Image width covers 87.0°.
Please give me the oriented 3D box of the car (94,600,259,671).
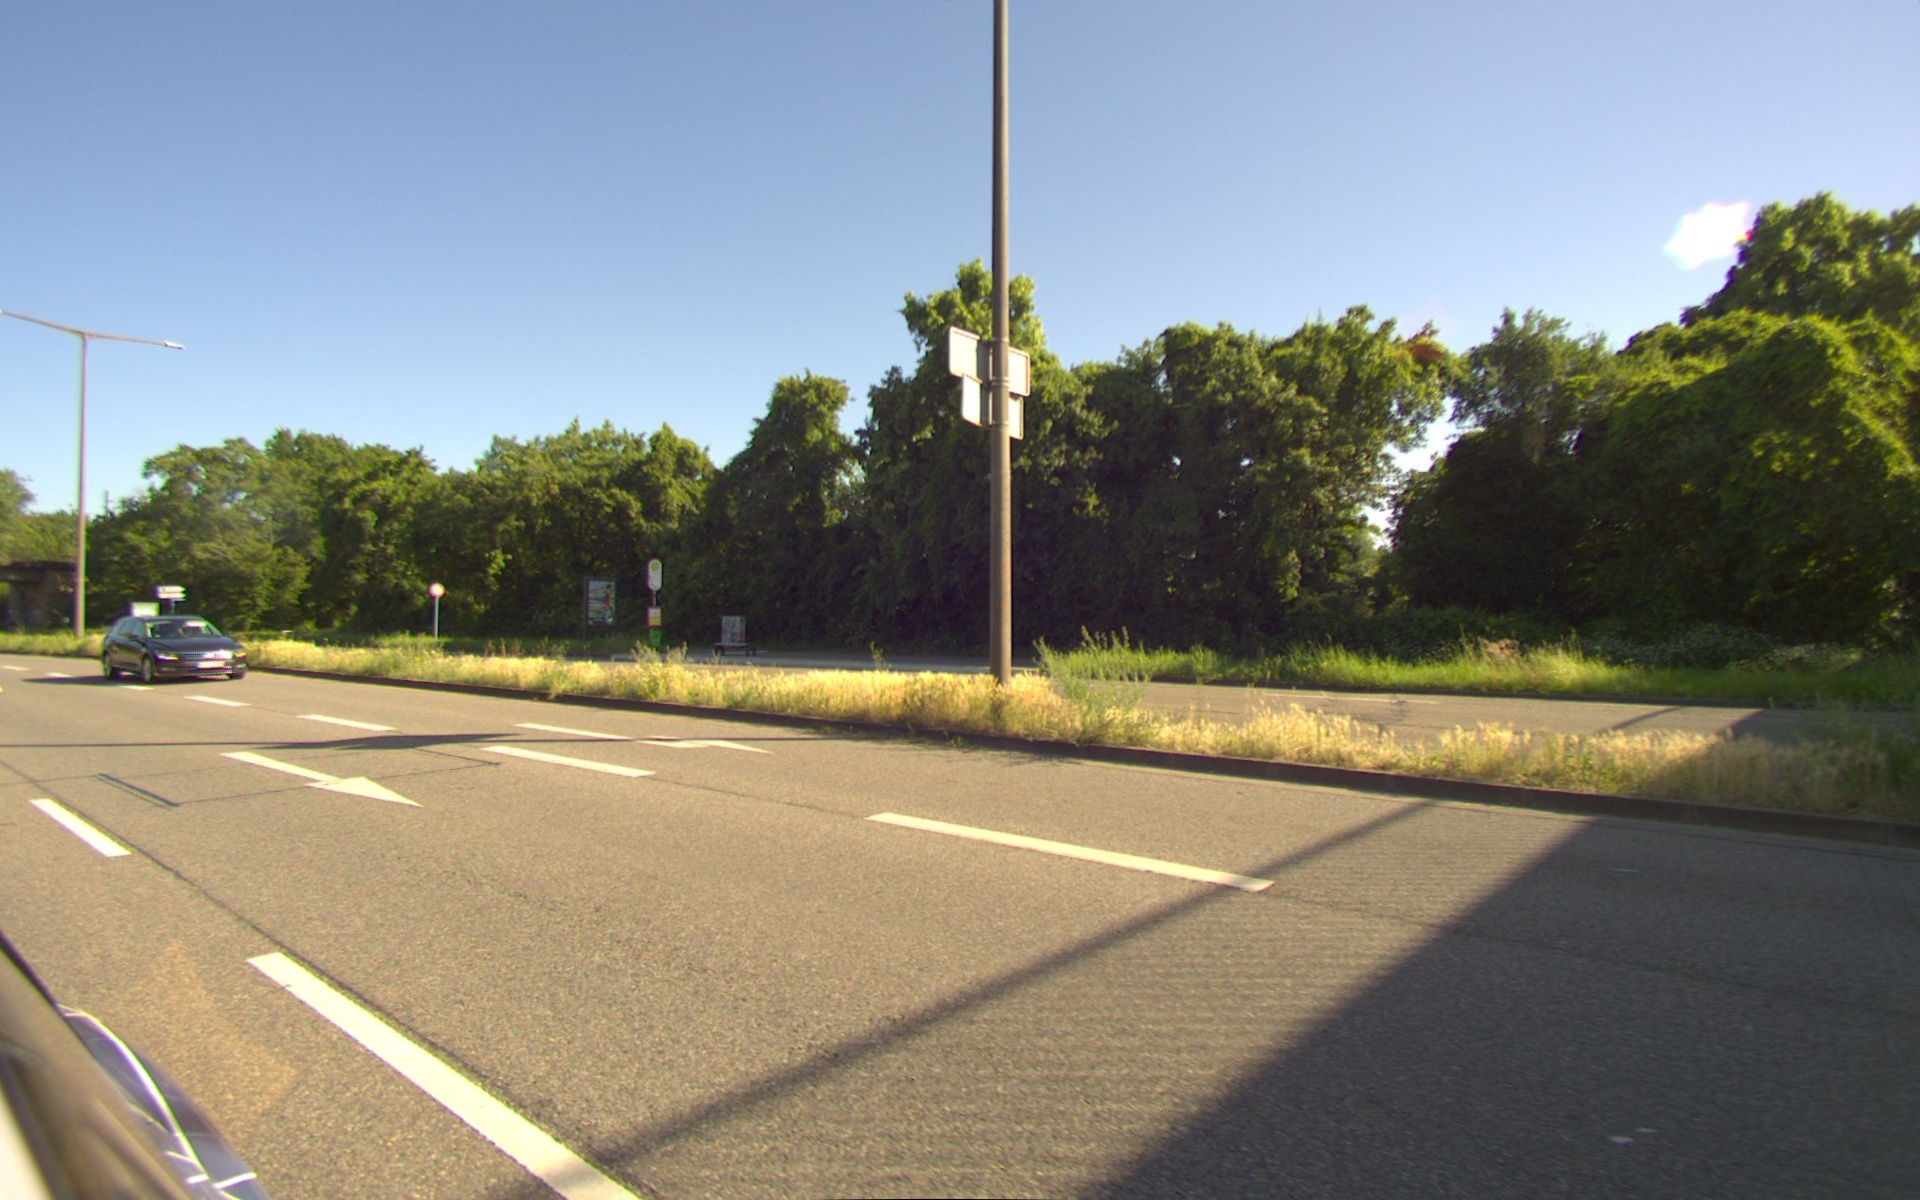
[{"bbox_3d":[-18.064,0.795,23.309,3.989,1.507,1.777,-1,-1,33],"label":"car"}]
